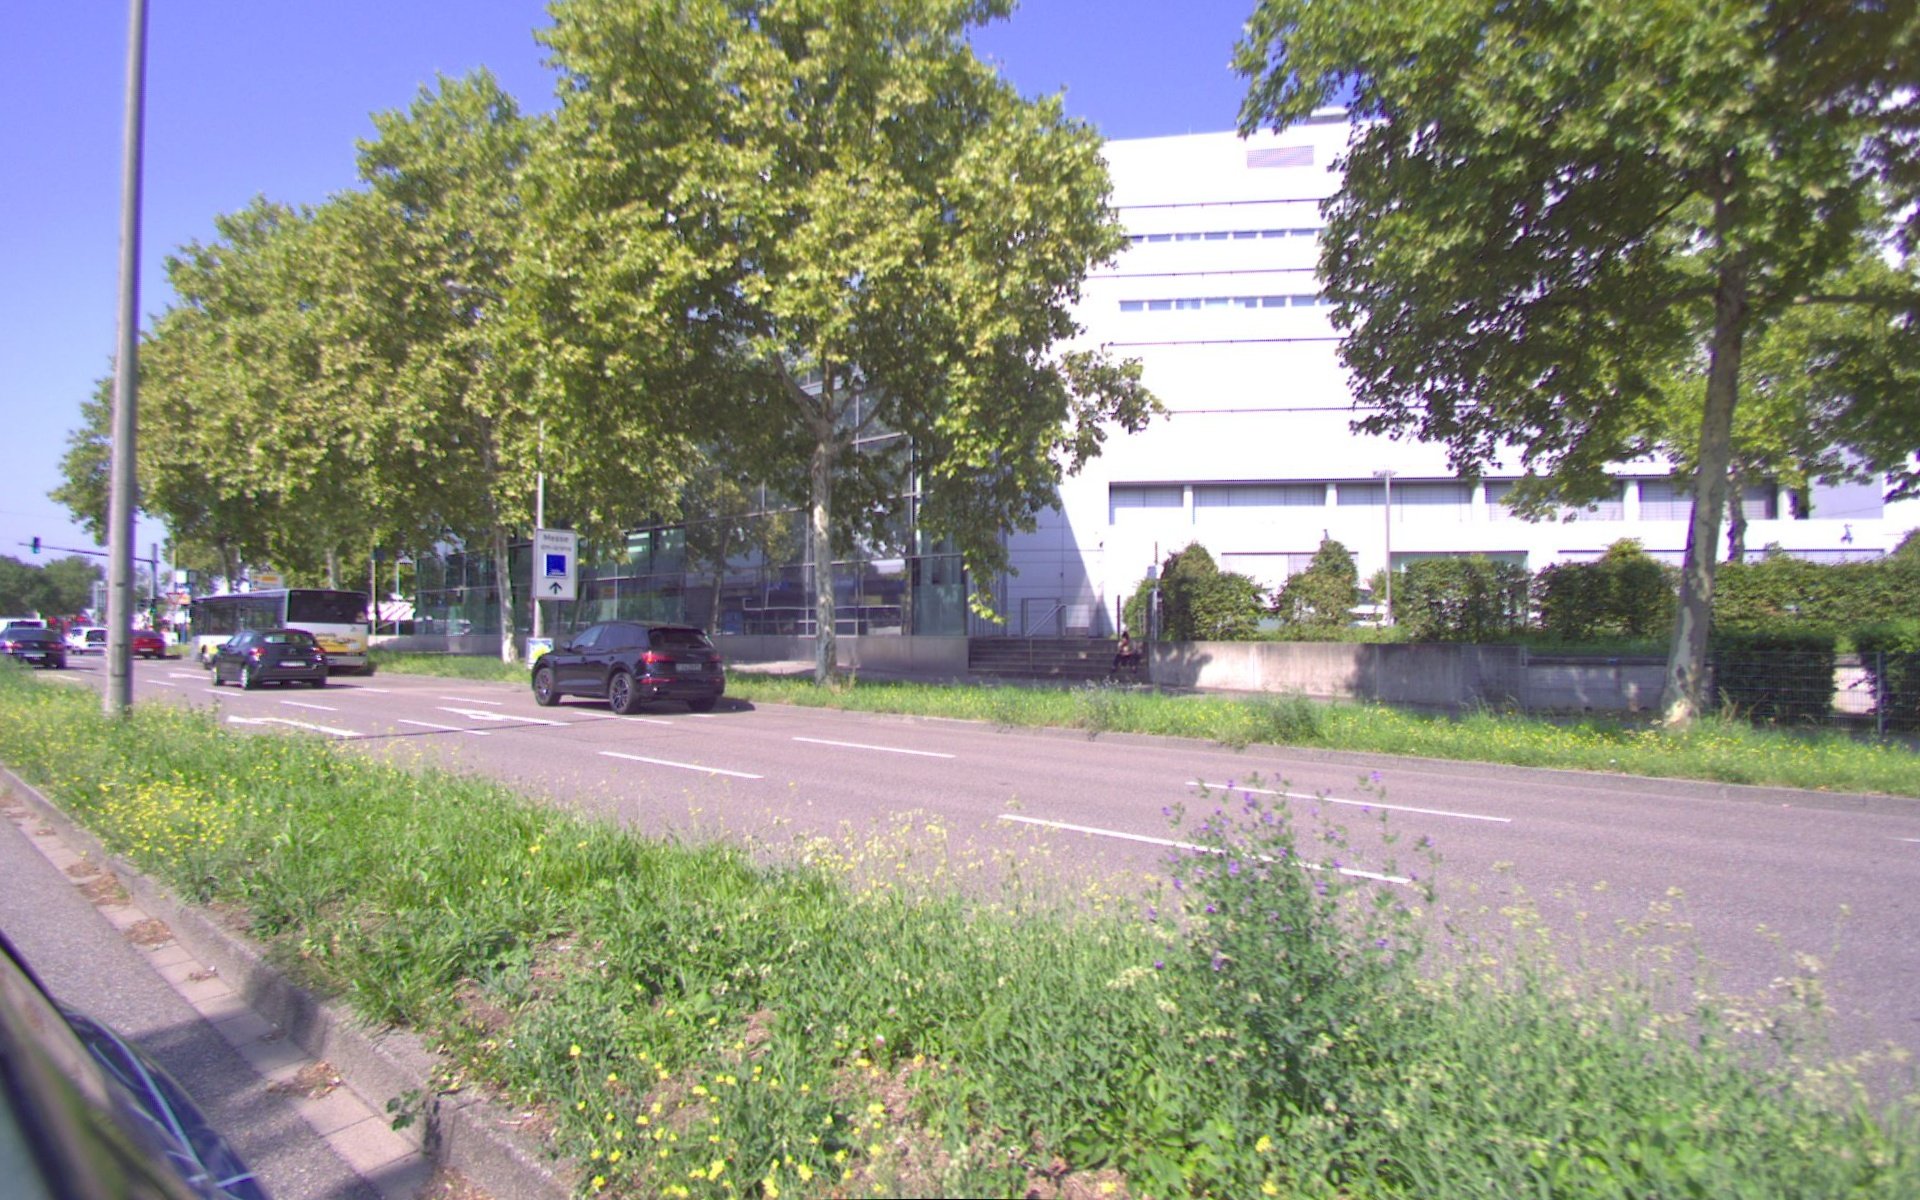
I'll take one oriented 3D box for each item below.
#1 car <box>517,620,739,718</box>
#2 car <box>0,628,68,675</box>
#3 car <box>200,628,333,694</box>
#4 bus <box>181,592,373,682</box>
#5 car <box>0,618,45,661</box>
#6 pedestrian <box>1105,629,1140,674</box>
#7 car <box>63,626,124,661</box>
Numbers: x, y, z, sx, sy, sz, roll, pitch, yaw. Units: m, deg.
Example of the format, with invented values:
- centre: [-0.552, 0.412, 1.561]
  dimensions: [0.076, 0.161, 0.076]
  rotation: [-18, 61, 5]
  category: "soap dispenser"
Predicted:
- centre: [-6.333, 1.240, 19.045]
  dimensions: [4.607, 1.617, 1.826]
  rotation: [-2, -4, 41]
  category: "car"
- centre: [-31.857, 1.732, 34.314]
  dimensions: [4.642, 1.501, 1.826]
  rotation: [-2, -5, 42]
  category: "car"
- centre: [-17.297, 1.472, 25.160]
  dimensions: [4.311, 1.501, 1.687]
  rotation: [-2, -4, 42]
  category: "car"
- centre: [-23.822, 1.273, 34.961]
  dimensions: [10.899, 2.715, 2.634]
  rotation: [-1, -4, 41]
  category: "bus"
- centre: [-51.829, 2.114, 55.441]
  dimensions: [5.189, 1.975, 1.906]
  rotation: [3, -1, 42]
  category: "car"
- centre: [4.273, 1.354, 26.597]
  dimensions: [0.561, 1.118, 0.728]
  rotation: [-5, -3, 36]
  category: "pedestrian"
- centre: [-49.197, 2.454, 57.472]
  dimensions: [3.972, 1.910, 1.908]
  rotation: [-1, -4, 40]
  category: "car"
